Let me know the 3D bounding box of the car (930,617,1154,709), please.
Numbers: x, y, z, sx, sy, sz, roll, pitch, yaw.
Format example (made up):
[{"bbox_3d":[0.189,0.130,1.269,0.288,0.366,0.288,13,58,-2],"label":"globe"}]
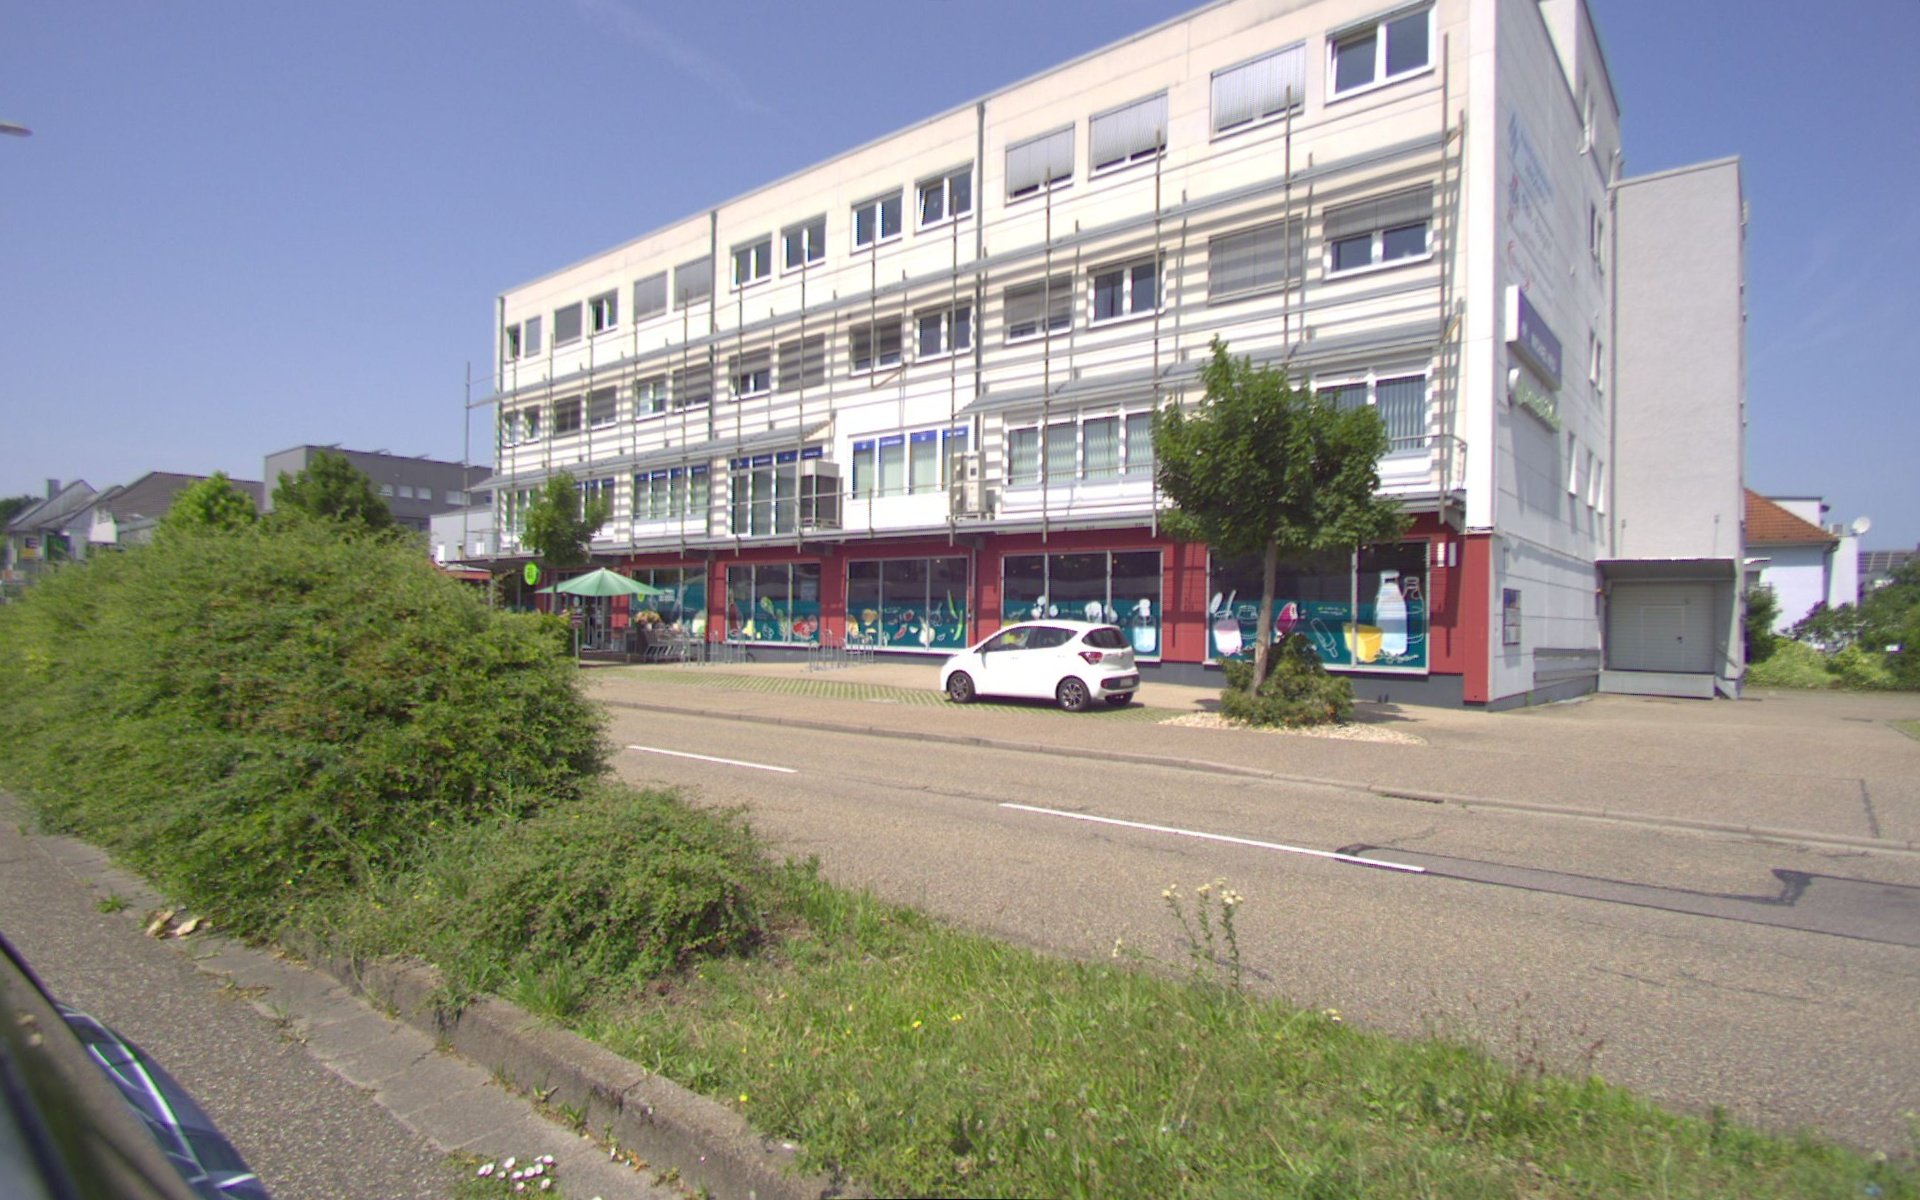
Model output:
[{"bbox_3d":[1.402,1.050,17.912,3.661,1.460,1.675,-1,-2,38],"label":"car"}]
